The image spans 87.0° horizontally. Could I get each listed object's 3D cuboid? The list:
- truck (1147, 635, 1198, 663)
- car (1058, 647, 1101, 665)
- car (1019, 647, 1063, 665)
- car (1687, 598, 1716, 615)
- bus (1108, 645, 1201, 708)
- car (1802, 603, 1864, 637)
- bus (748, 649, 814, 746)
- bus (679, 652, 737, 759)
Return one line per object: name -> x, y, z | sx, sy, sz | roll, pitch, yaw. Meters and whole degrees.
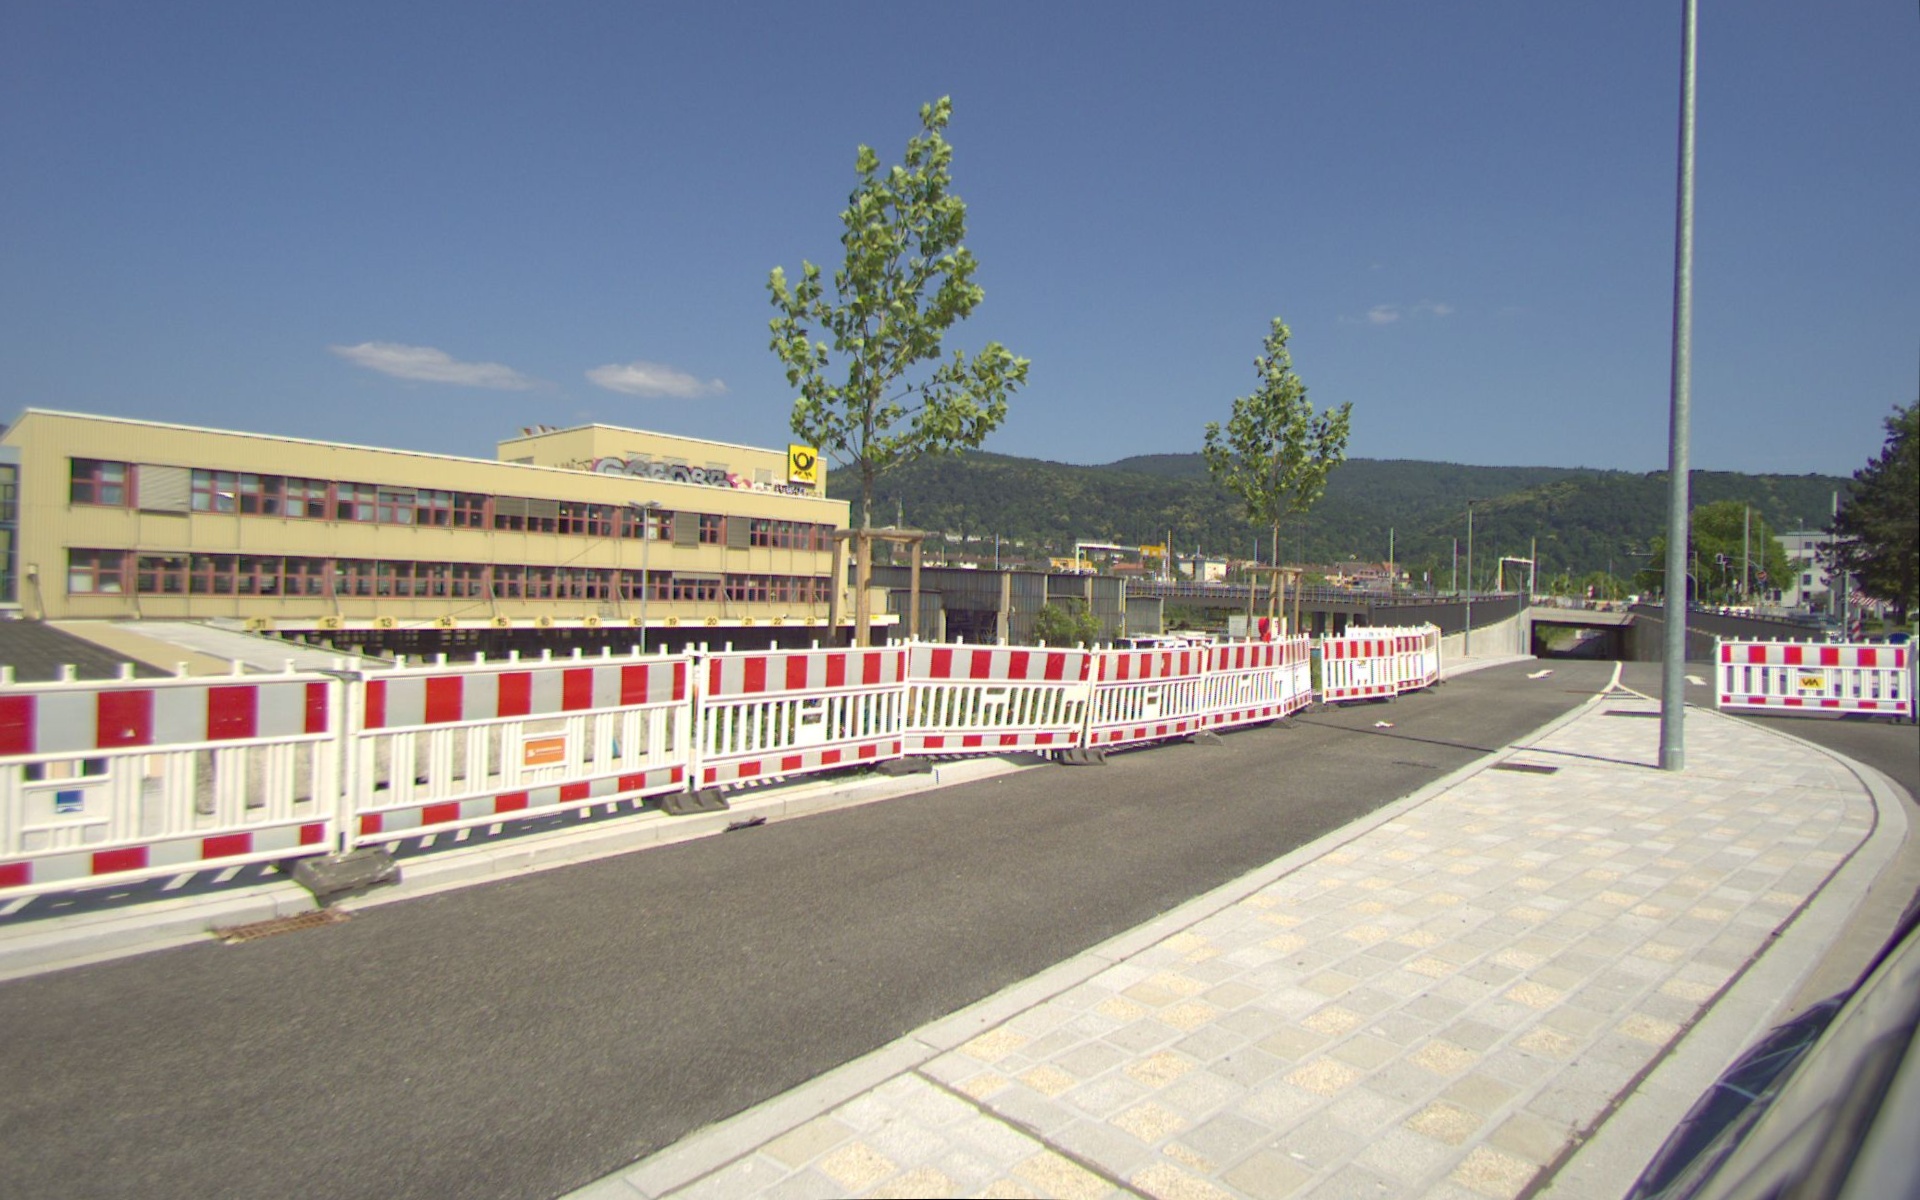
truck -> 24.672, 5.622, 117.459 | 1.992, 2.792, 8.267 | 0, 1, 41
car -> 12.633, 5.973, 107.472 | 4.351, 1.605, 1.720 | 1, 1, 41
car -> 8.207, 5.678, 102.795 | 4.351, 1.605, 1.720 | 1, 1, 41
car -> 66.865, 0.588, 91.328 | 1.605, 1.459, 3.730 | 1, 1, 29
bus -> 14.458, 5.400, 74.015 | 2.531, 3.575, 12.401 | 0, 1, 31
car -> 40.717, 0.906, 47.282 | 1.607, 1.459, 3.725 | 1, 1, 32
bus -> -10.959, 5.388, 60.346 | 2.609, 3.811, 17.513 | 0, 1, -14
bus -> -13.633, 5.299, 55.240 | 2.609, 3.811, 17.162 | 0, 1, -13
